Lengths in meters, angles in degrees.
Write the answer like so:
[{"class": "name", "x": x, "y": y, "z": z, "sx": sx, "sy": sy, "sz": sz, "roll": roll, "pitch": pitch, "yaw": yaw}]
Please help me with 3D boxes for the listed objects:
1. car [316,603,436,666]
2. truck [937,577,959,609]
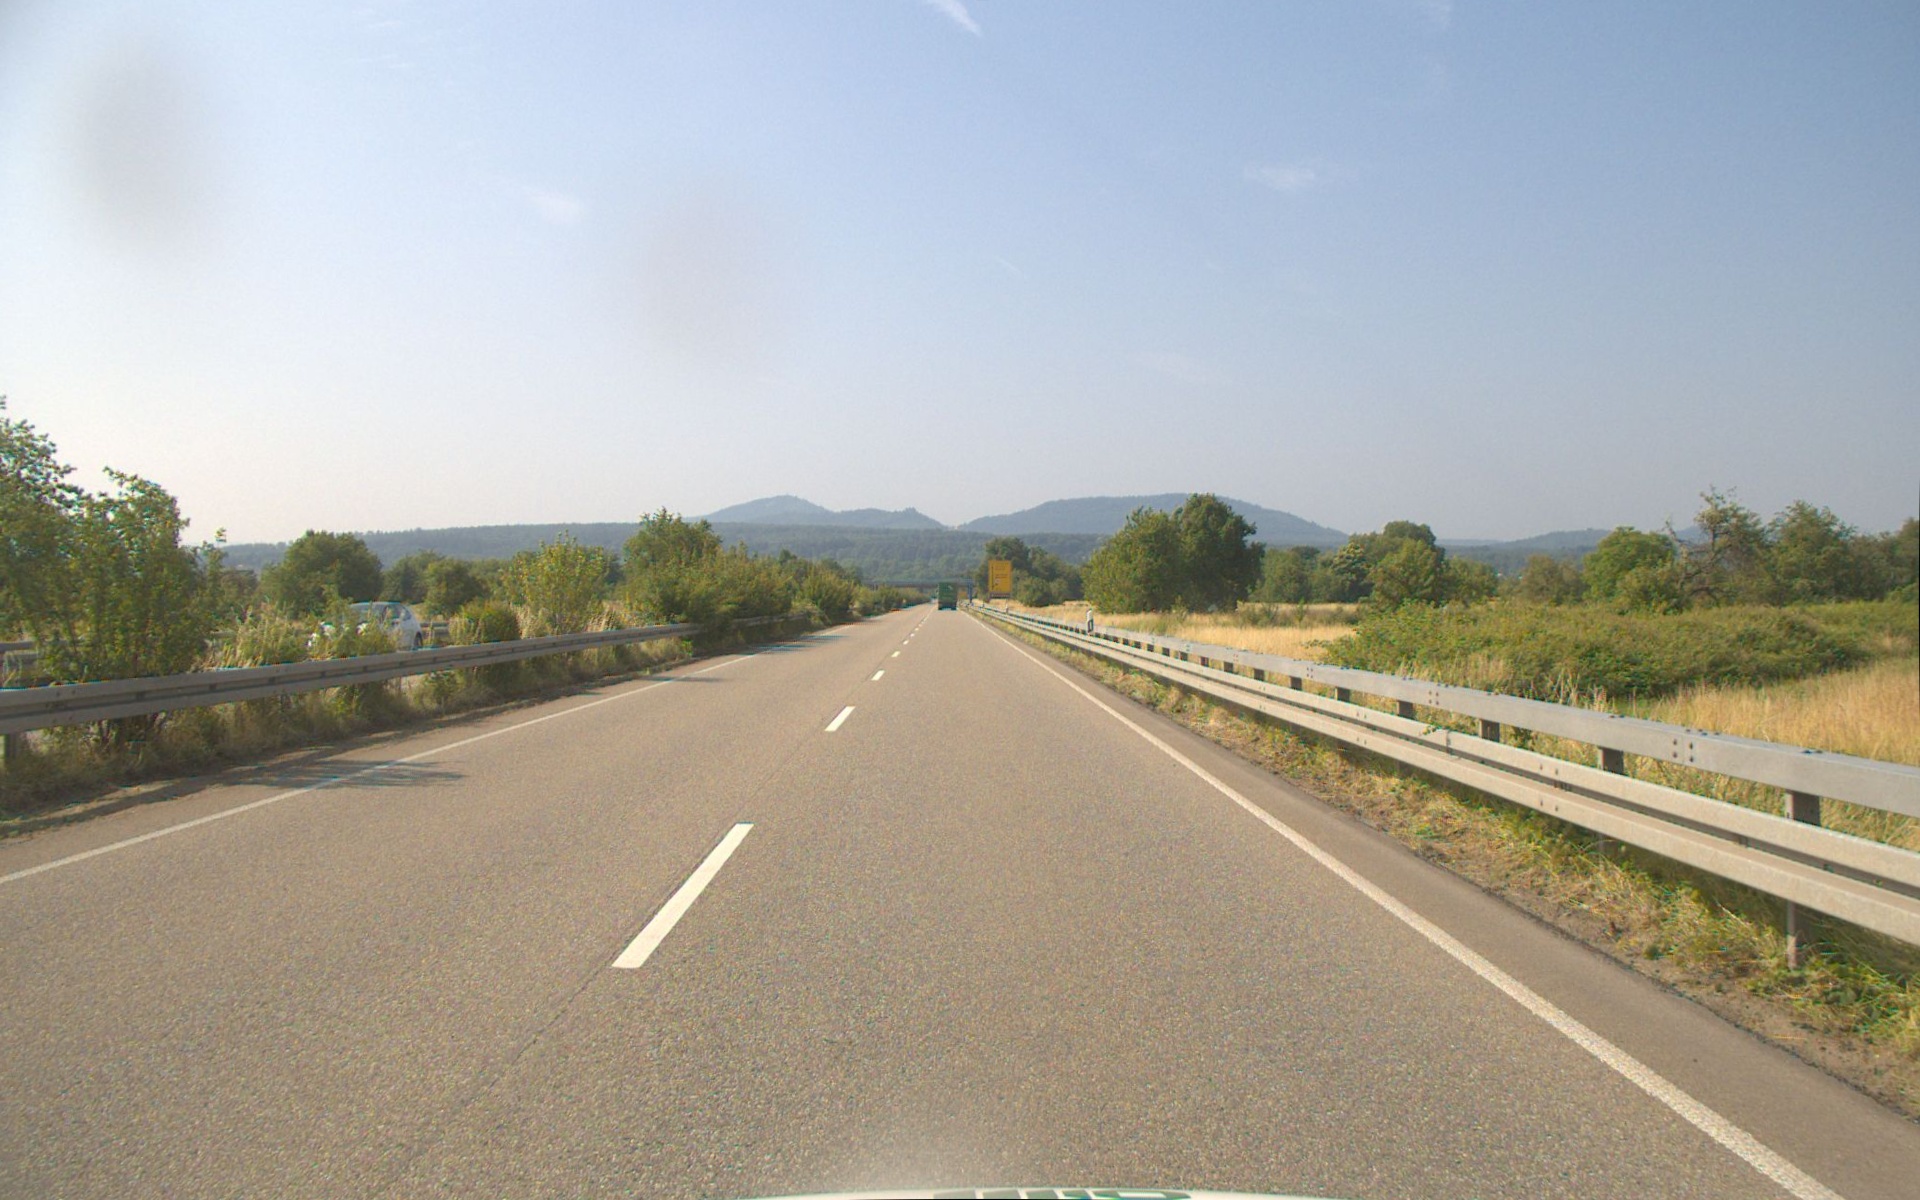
[{"class": "car", "x": -15.061, "y": 0.854, "z": 42.873, "sx": 1.658, "sy": 1.553, "sz": 4.188, "roll": 1, "pitch": 0, "yaw": -1}, {"class": "truck", "x": -1.591, "y": -1.028, "z": 222.842, "sx": 2.666, "sy": 4.034, "sz": 10.415, "roll": 2, "pitch": 1, "yaw": 0}]
